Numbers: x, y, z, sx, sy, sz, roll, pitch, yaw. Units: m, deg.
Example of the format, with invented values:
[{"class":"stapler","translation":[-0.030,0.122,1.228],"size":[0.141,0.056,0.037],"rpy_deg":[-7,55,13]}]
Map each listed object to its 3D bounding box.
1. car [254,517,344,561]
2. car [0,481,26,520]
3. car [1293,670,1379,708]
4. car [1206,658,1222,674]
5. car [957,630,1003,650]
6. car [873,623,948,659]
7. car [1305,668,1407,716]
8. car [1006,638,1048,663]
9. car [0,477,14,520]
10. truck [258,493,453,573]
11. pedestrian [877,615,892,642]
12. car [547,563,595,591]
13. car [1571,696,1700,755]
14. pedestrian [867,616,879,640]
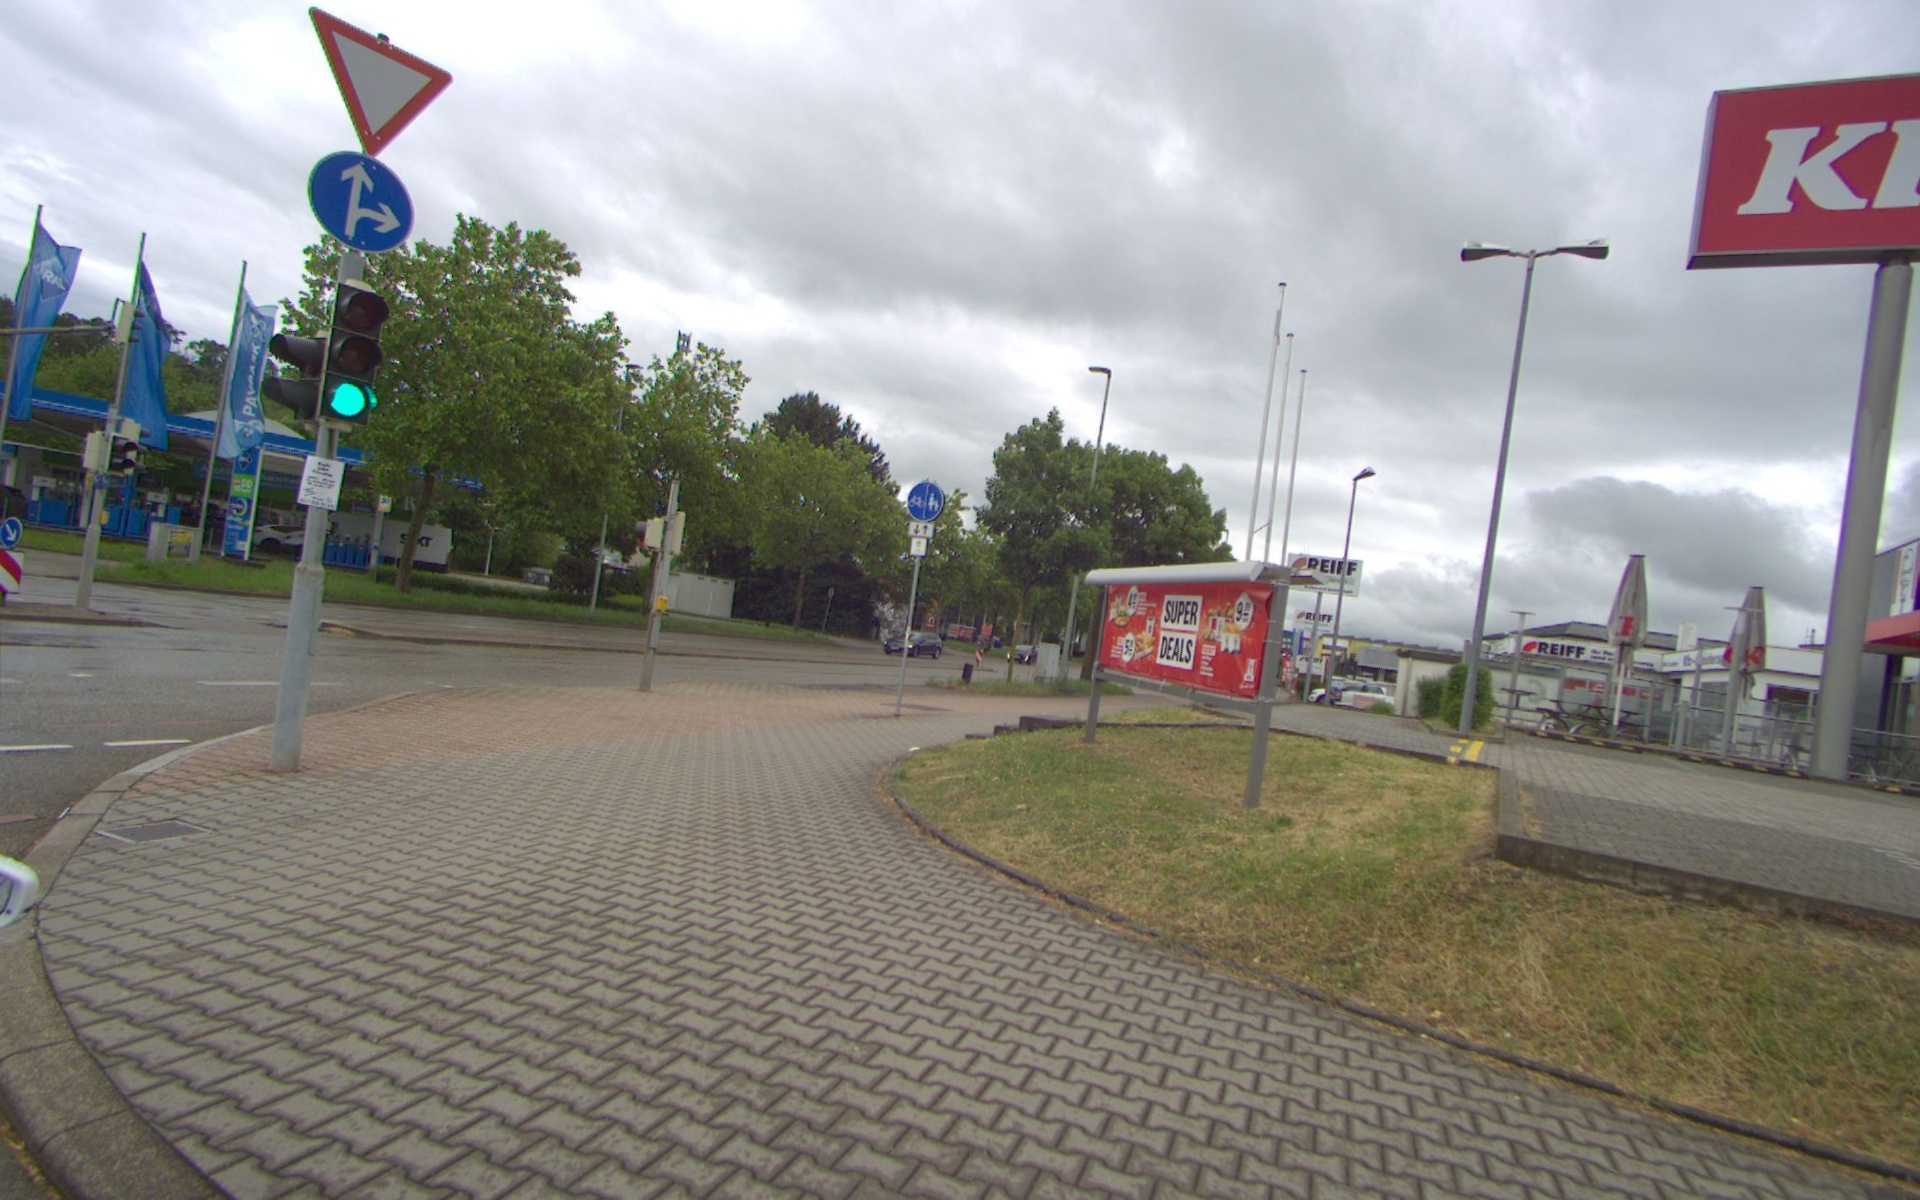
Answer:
[{"class":"car","translation":[-33.866,-3.103,51.646],"size":[3.524,1.600,1.678],"rpy_deg":[10,-2,-28]},{"class":"car","translation":[-48.185,-5.099,48.686],"size":[3.959,1.748,1.780],"rpy_deg":[8,-1,-32]},{"class":"car","translation":[20.140,4.760,53.952],"size":[3.936,1.540,1.714],"rpy_deg":[5,-2,33]},{"class":"car","translation":[37.456,9.750,148.289],"size":[1.718,2.037,4.003],"rpy_deg":[7,-1,19]},{"class":"car","translation":[2.172,4.355,109.129],"size":[4.640,1.525,2.003],"rpy_deg":[6,-3,13]},{"class":"car","translation":[-2.636,2.278,55.019],"size":[1.964,1.525,4.731],"rpy_deg":[6,-3,26]},{"class":"car","translation":[18.274,4.230,46.451],"size":[4.115,1.570,1.888],"rpy_deg":[7,-1,27]},{"class":"car","translation":[4.864,3.642,72.505],"size":[1.618,1.526,3.893],"rpy_deg":[6,-2,23]},{"class":"car","translation":[-44.971,-4.852,44.474],"size":[4.082,1.828,1.933],"rpy_deg":[8,-2,-29]},{"class":"truck","translation":[-29.224,-3.129,48.908],"size":[7.797,2.706,2.137],"rpy_deg":[7,-2,-34]},{"class":"pedestrian","translation":[-5.471,2.070,72.816],"size":[0.657,1.788,0.581],"rpy_deg":[8,0,41]},{"class":"car","translation":[-32.637,-1.883,84.533],"size":[1.962,1.859,4.004],"rpy_deg":[6,-1,7]},{"class":"car","translation":[27.074,5.006,40.477],"size":[3.930,1.699,1.956],"rpy_deg":[7,-1,27]},{"class":"pedestrian","translation":[-6.318,2.015,72.881],"size":[0.504,1.703,0.540],"rpy_deg":[6,0,20]}]
